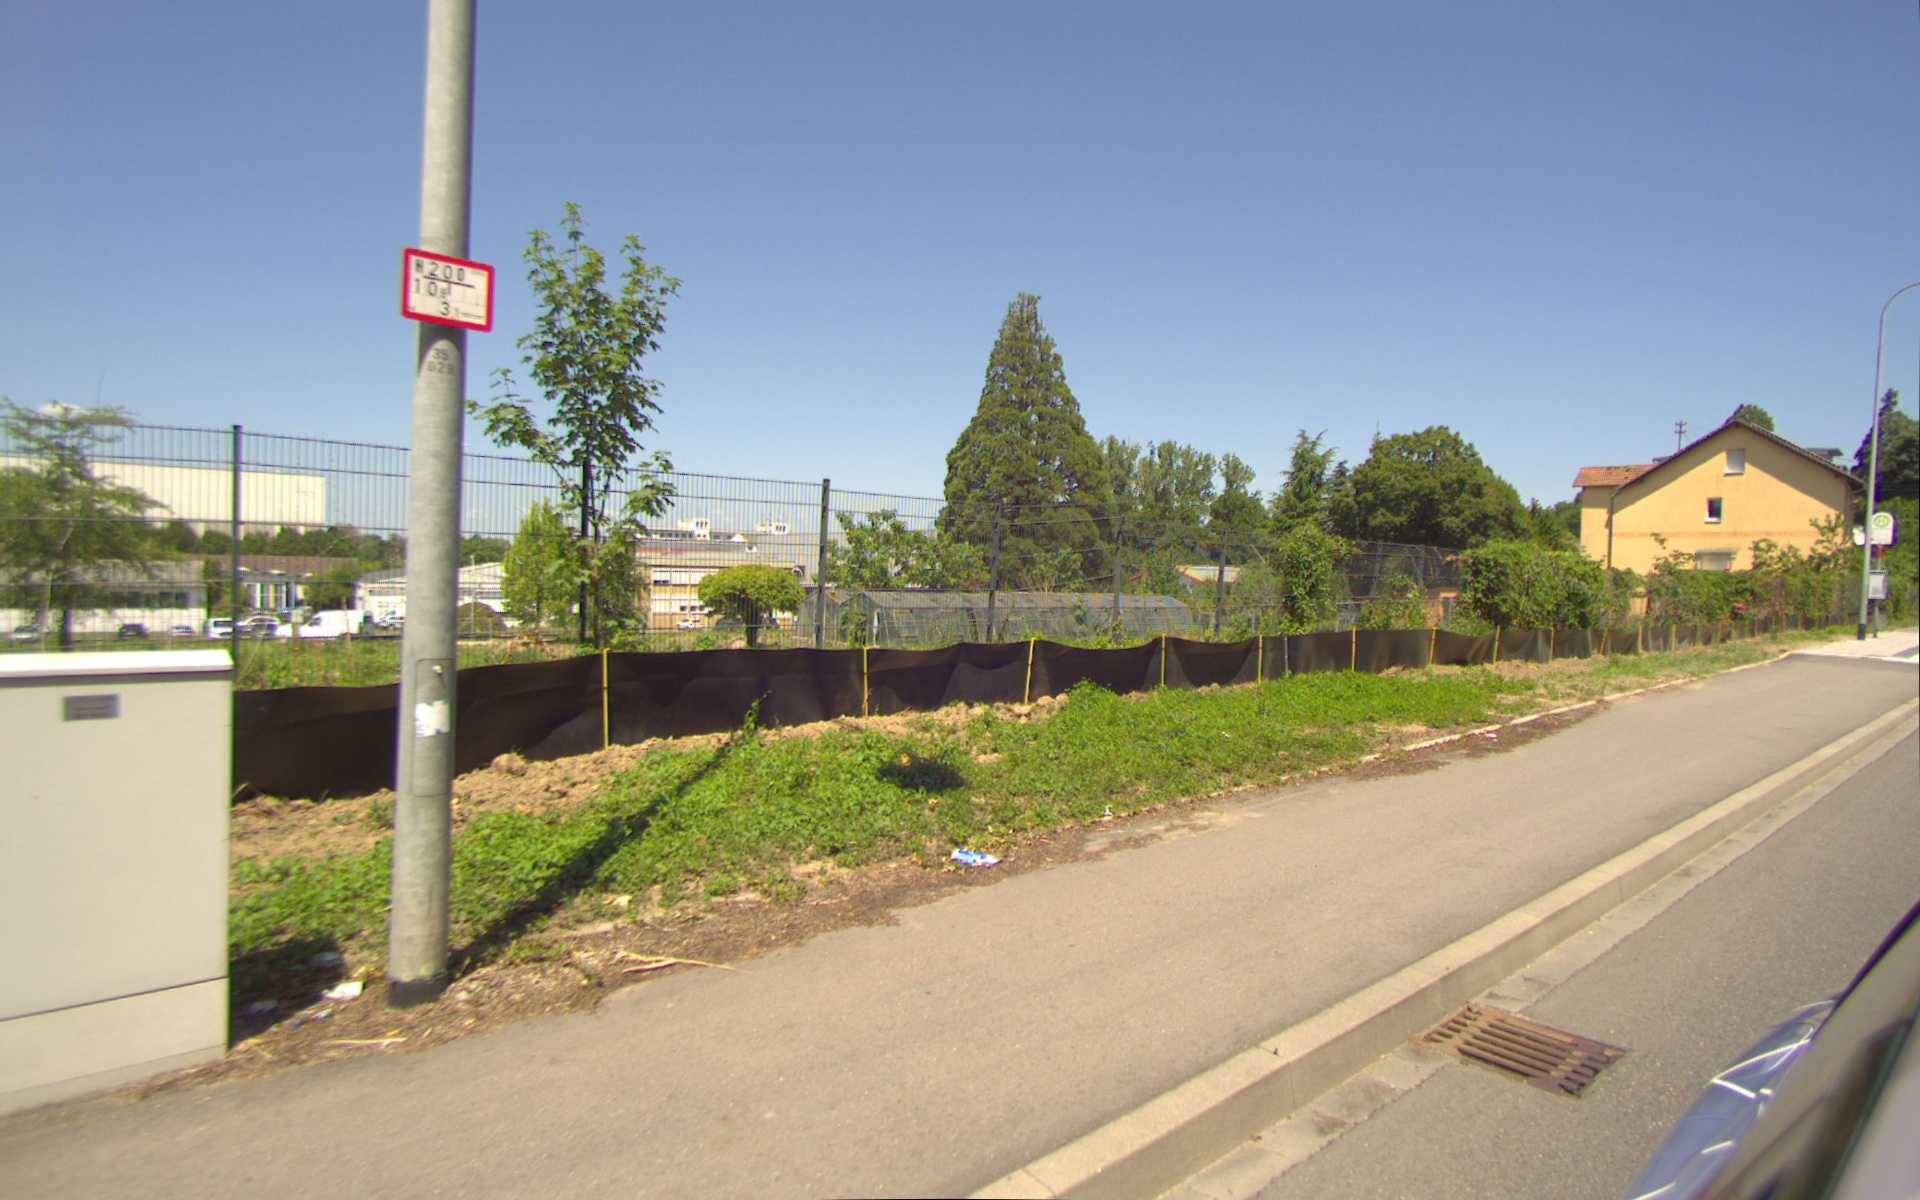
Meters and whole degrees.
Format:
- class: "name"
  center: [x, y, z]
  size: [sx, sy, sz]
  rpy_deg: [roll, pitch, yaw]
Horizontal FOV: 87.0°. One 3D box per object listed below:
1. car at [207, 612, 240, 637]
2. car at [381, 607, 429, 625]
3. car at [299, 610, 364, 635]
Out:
- class: "car"
  center: [-58.158, 1.909, 79.844]
  size: [1.964, 1.760, 3.997]
  rpy_deg: [0, 1, -38]
- class: "car"
  center: [-54.200, 1.569, 98.856]
  size: [3.781, 1.641, 1.935]
  rpy_deg: [0, 1, -41]
- class: "car"
  center: [-52.666, 1.867, 84.881]
  size: [4.254, 2.039, 1.876]
  rpy_deg: [0, 0, -5]
